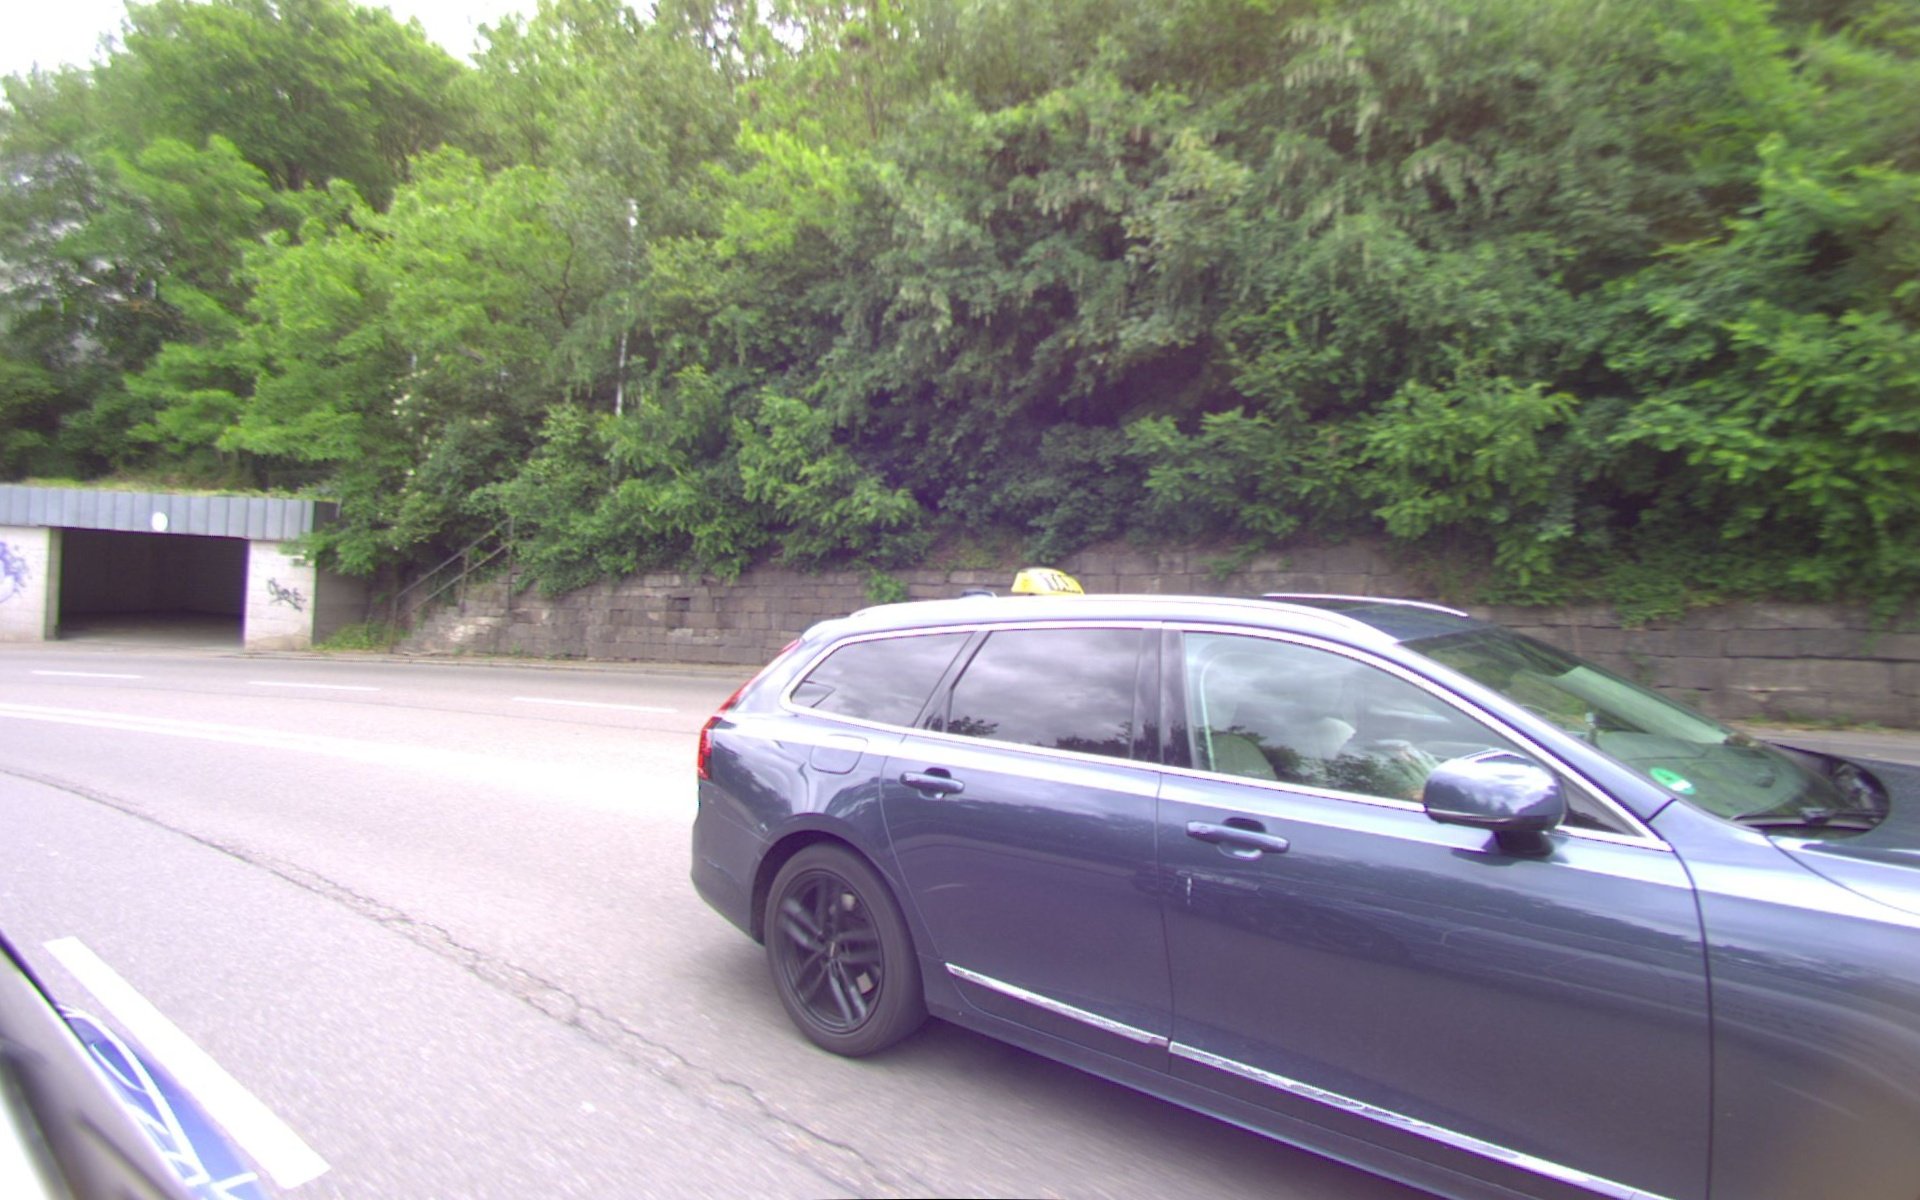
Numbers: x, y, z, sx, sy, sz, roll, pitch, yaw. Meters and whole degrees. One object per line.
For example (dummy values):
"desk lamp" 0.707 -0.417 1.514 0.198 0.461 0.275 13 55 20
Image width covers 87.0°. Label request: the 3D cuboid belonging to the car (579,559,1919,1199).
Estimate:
"car" 1.223 0.692 2.826 5.019 1.588 1.917 2 3 37
